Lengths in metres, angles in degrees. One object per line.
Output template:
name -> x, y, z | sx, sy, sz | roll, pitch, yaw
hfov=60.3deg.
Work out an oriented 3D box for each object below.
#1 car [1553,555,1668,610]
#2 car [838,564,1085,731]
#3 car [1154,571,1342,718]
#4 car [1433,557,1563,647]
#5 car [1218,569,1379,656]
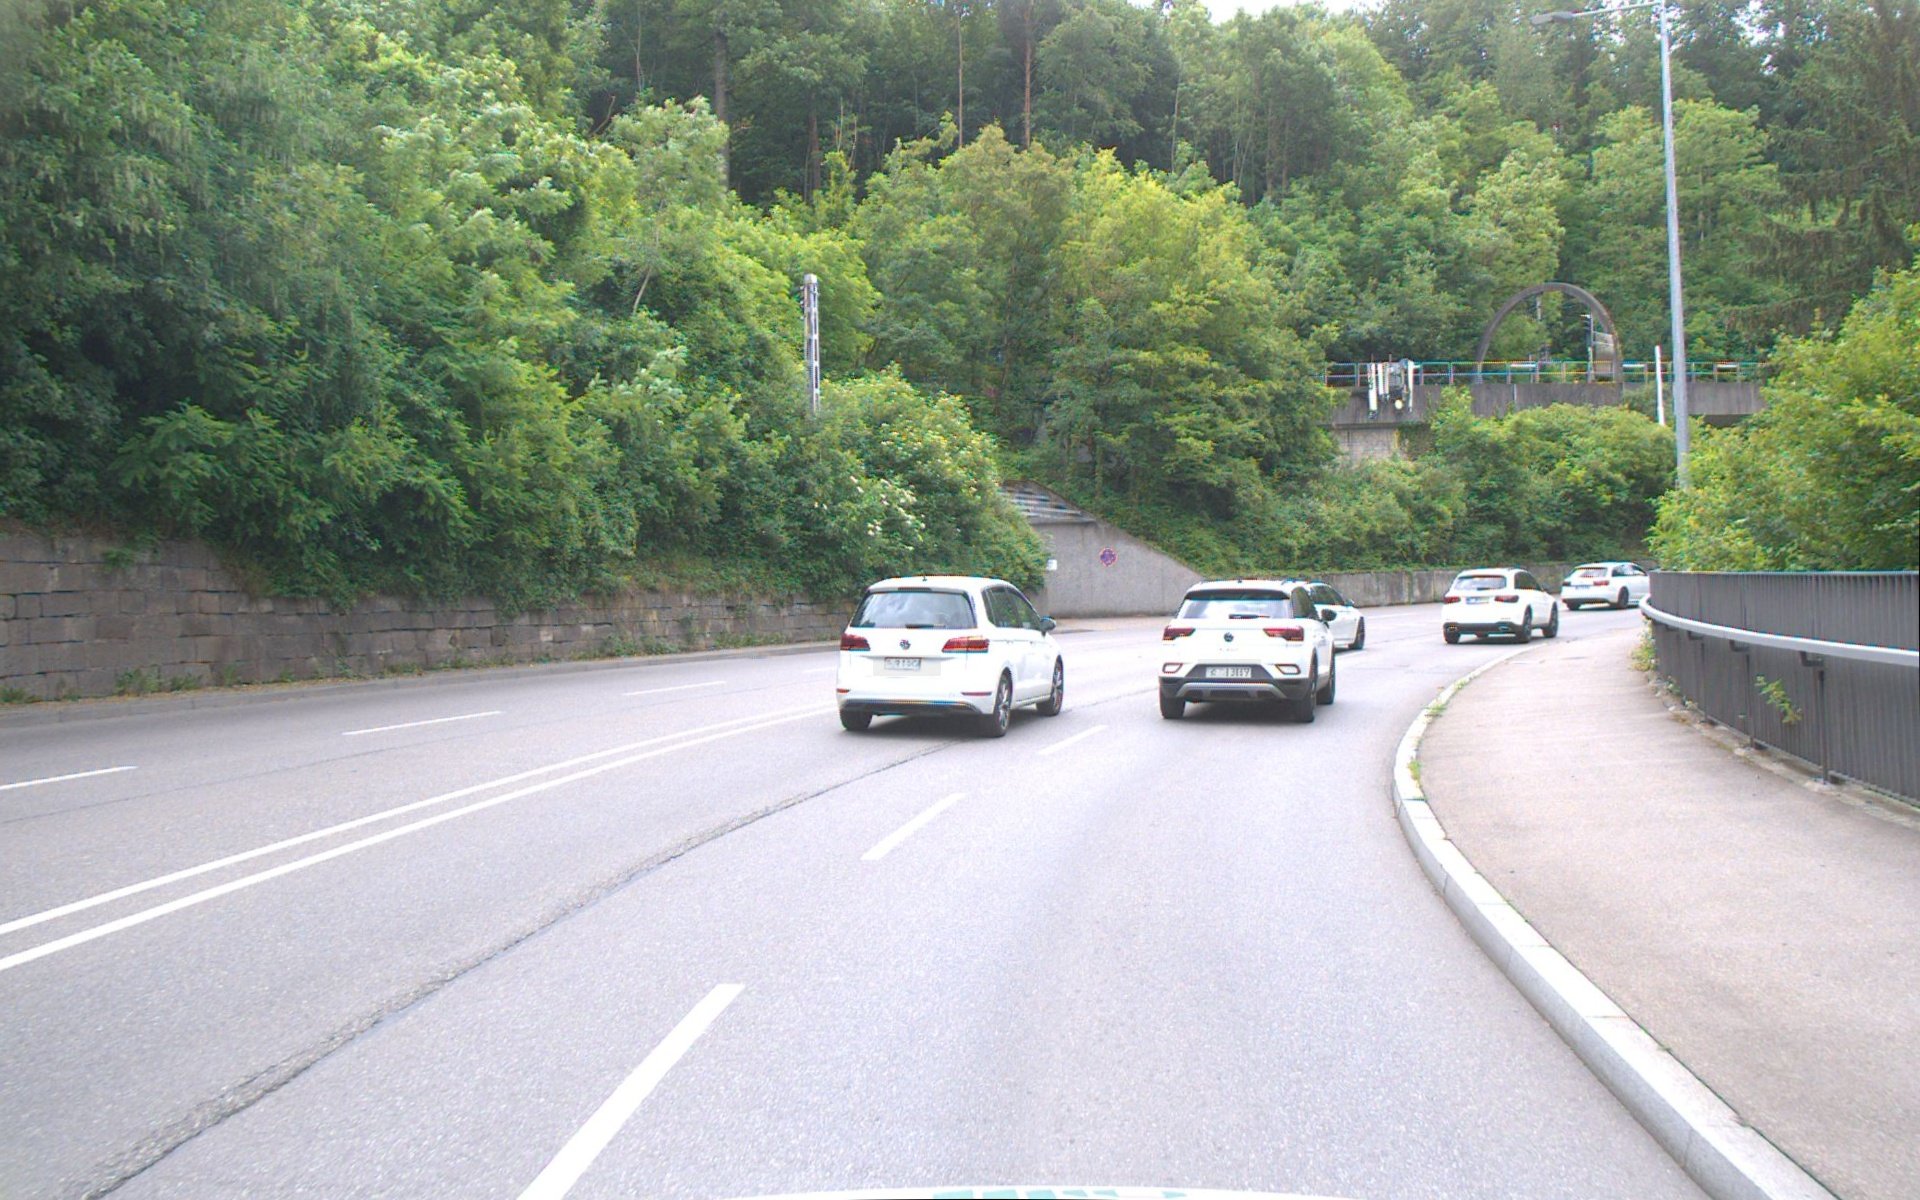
car -> 21.170, -0.547, 53.758 | 4.271, 1.545, 1.720 | 3, -2, -42
car -> 0.157, 0.470, 18.086 | 1.683, 1.581, 4.278 | 1, 0, 14
car -> 3.557, 0.508, 19.901 | 1.775, 1.566, 4.010 | 0, -1, 17
car -> 12.445, 0.082, 38.078 | 1.957, 1.875, 4.140 | 1, -1, 31
car -> 7.102, 0.217, 34.336 | 1.956, 1.584, 4.674 | -1, 2, 29
